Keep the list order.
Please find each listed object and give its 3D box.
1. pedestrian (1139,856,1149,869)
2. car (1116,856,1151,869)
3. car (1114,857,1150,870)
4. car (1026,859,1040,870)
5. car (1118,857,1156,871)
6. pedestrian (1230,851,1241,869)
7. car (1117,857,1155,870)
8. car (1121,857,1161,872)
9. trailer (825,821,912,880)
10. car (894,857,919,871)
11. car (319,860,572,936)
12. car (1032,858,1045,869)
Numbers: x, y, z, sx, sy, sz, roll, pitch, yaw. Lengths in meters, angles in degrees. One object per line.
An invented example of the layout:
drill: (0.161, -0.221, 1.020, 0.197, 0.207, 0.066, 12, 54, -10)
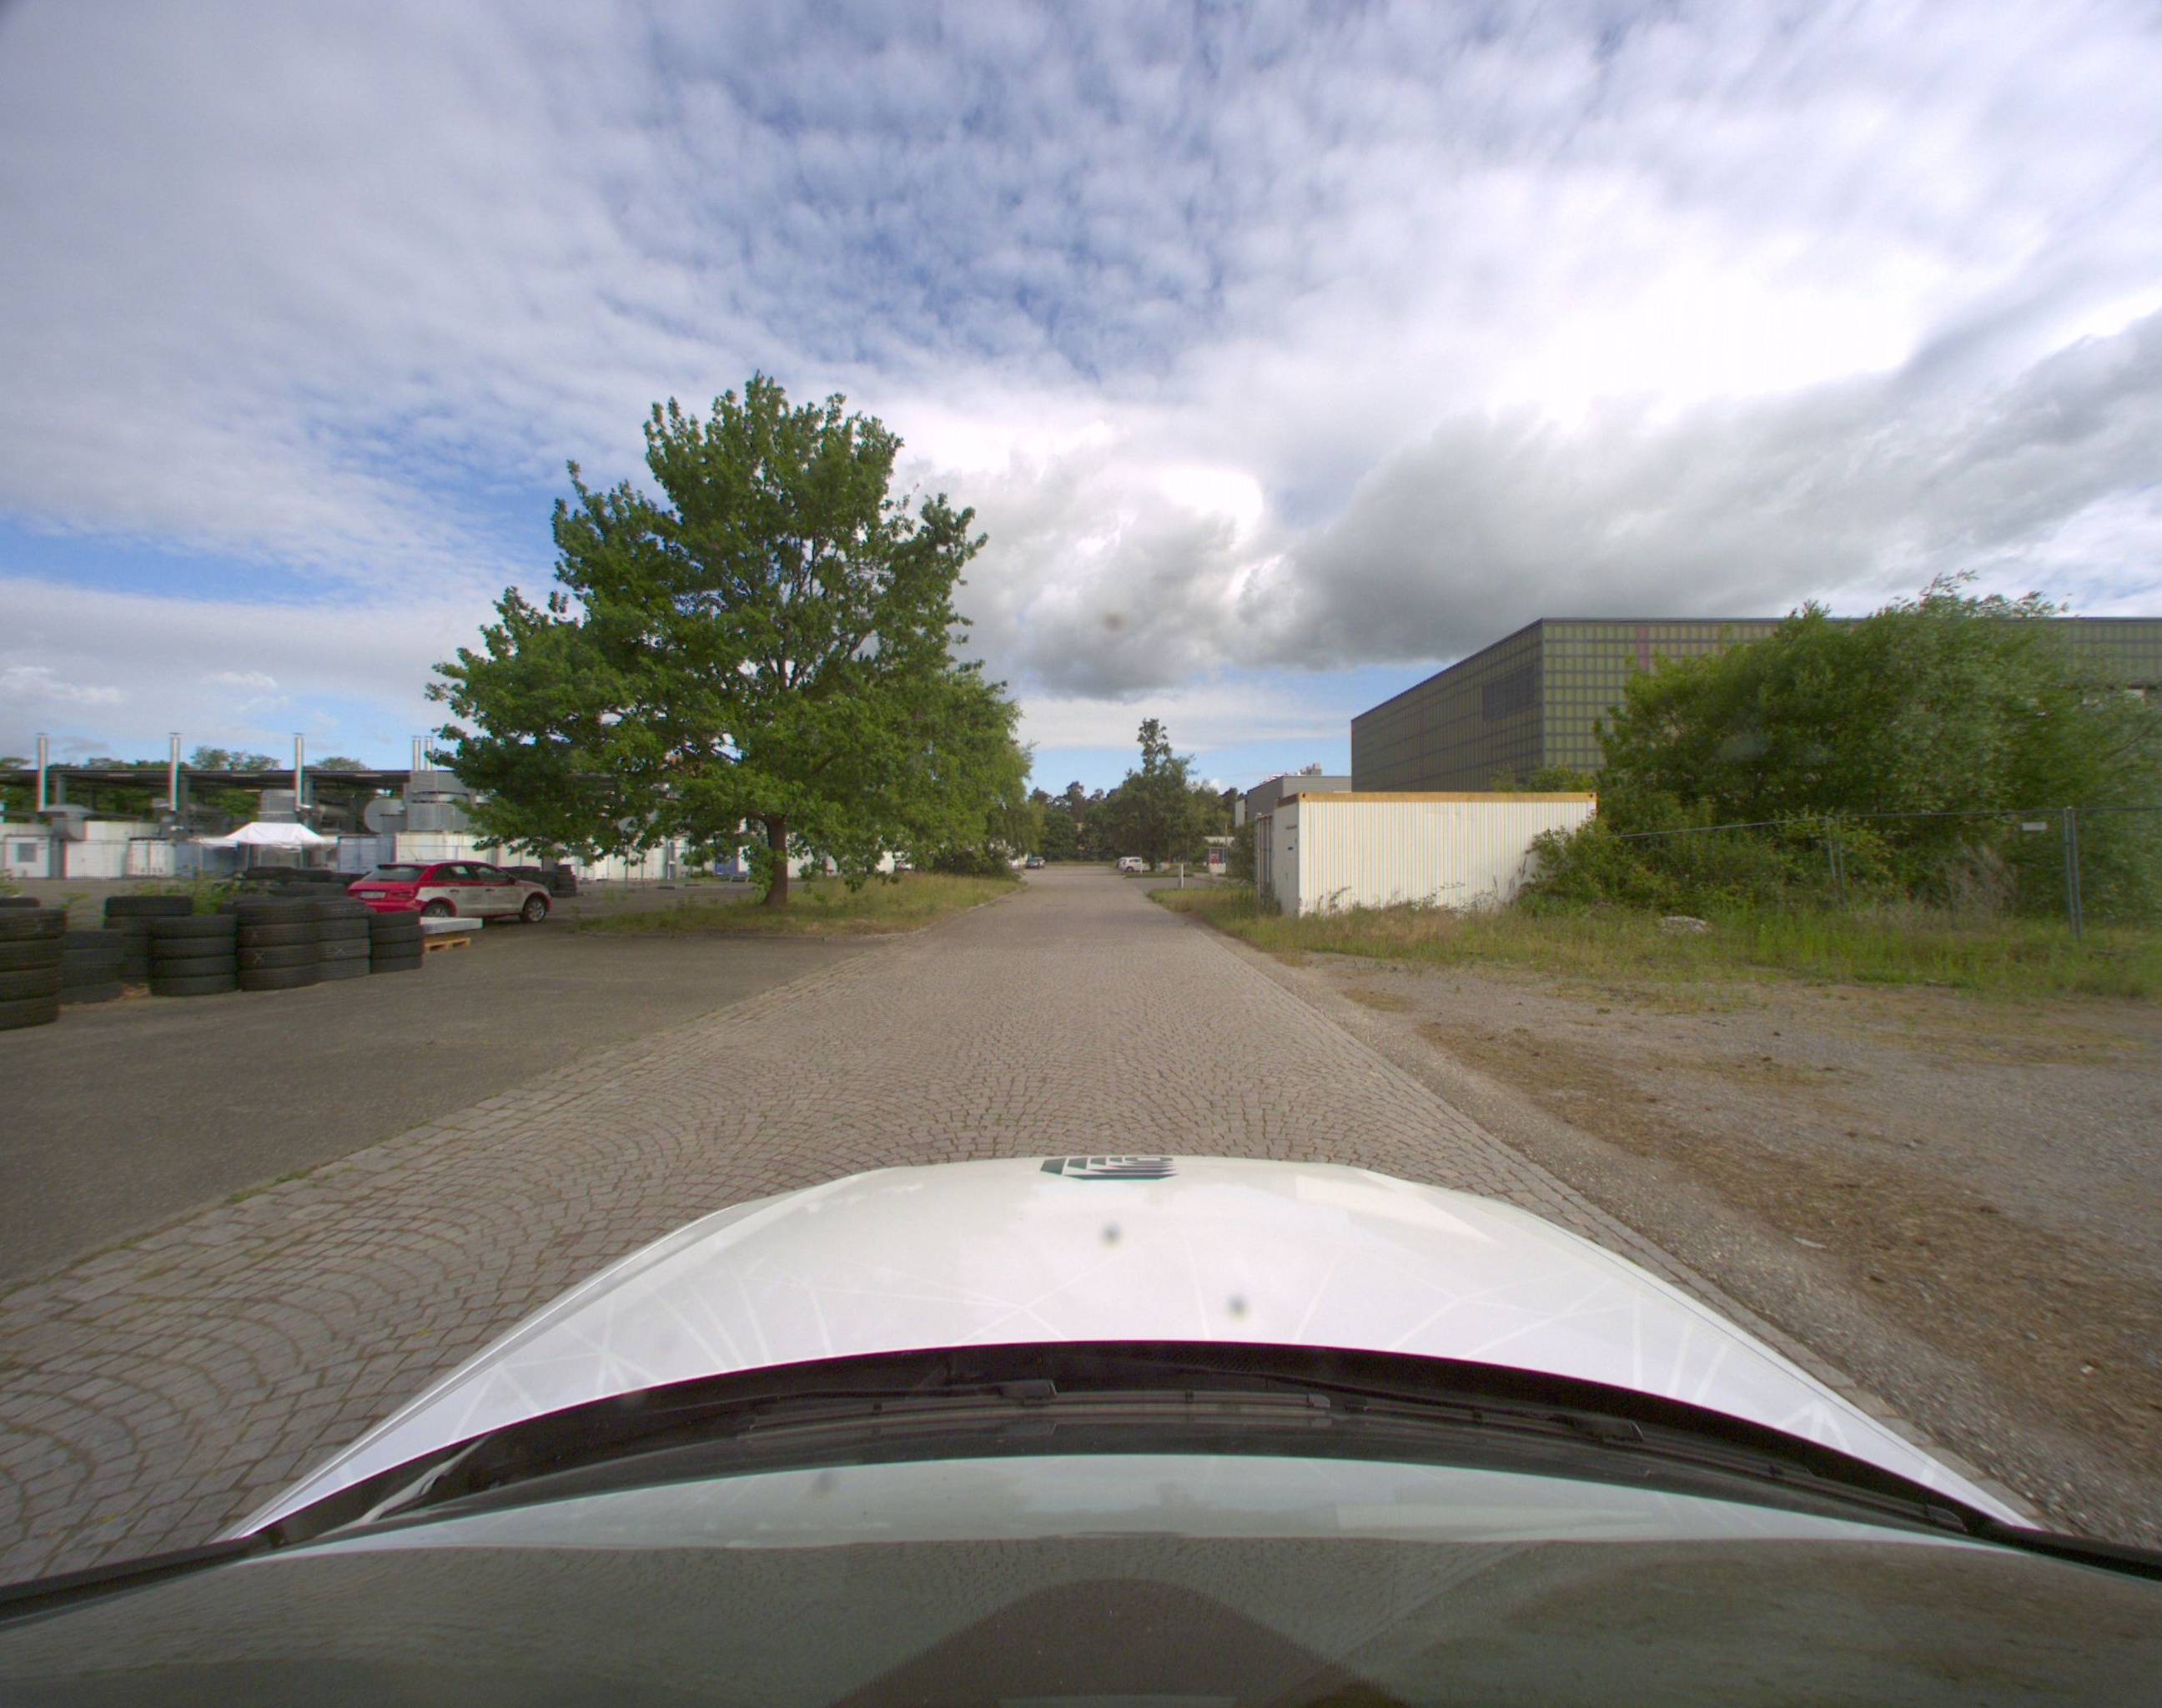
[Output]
pedestrian: (7.580, 1.018, 98.045, 0.959, 1.568, 0.949, -1, -1, 30)
car: (6.198, 1.000, 96.611, 3.978, 1.533, 1.997, 0, 0, -4)
car: (5.836, 1.072, 93.395, 3.973, 1.455, 1.770, 0, 0, 0)
car: (-6.303, 1.334, 107.250, 1.744, 1.364, 3.997, 0, 0, -2)
car: (5.867, 1.046, 85.451, 3.973, 1.455, 1.697, 0, 0, 0)
pedestrian: (17.407, 0.674, 91.995, 0.919, 2.014, 1.144, 0, -1, -5)
car: (5.959, 1.035, 88.491, 3.973, 1.455, 1.770, 0, 0, 0)
car: (6.137, 1.074, 83.282, 3.973, 1.455, 2.000, 0, -1, 0)
trailer: (-14.375, -0.197, 56.132, 2.645, 3.706, 10.729, 0, 0, 3)
car: (-20.161, 1.117, 94.384, 1.893, 1.575, 4.002, 0, 0, 2)
car: (-13.398, 0.843, 17.569, 1.814, 1.432, 4.226, 0, 0, 7)
car: (-6.068, 1.347, 117.481, 1.744, 1.454, 3.997, 0, 0, -2)
